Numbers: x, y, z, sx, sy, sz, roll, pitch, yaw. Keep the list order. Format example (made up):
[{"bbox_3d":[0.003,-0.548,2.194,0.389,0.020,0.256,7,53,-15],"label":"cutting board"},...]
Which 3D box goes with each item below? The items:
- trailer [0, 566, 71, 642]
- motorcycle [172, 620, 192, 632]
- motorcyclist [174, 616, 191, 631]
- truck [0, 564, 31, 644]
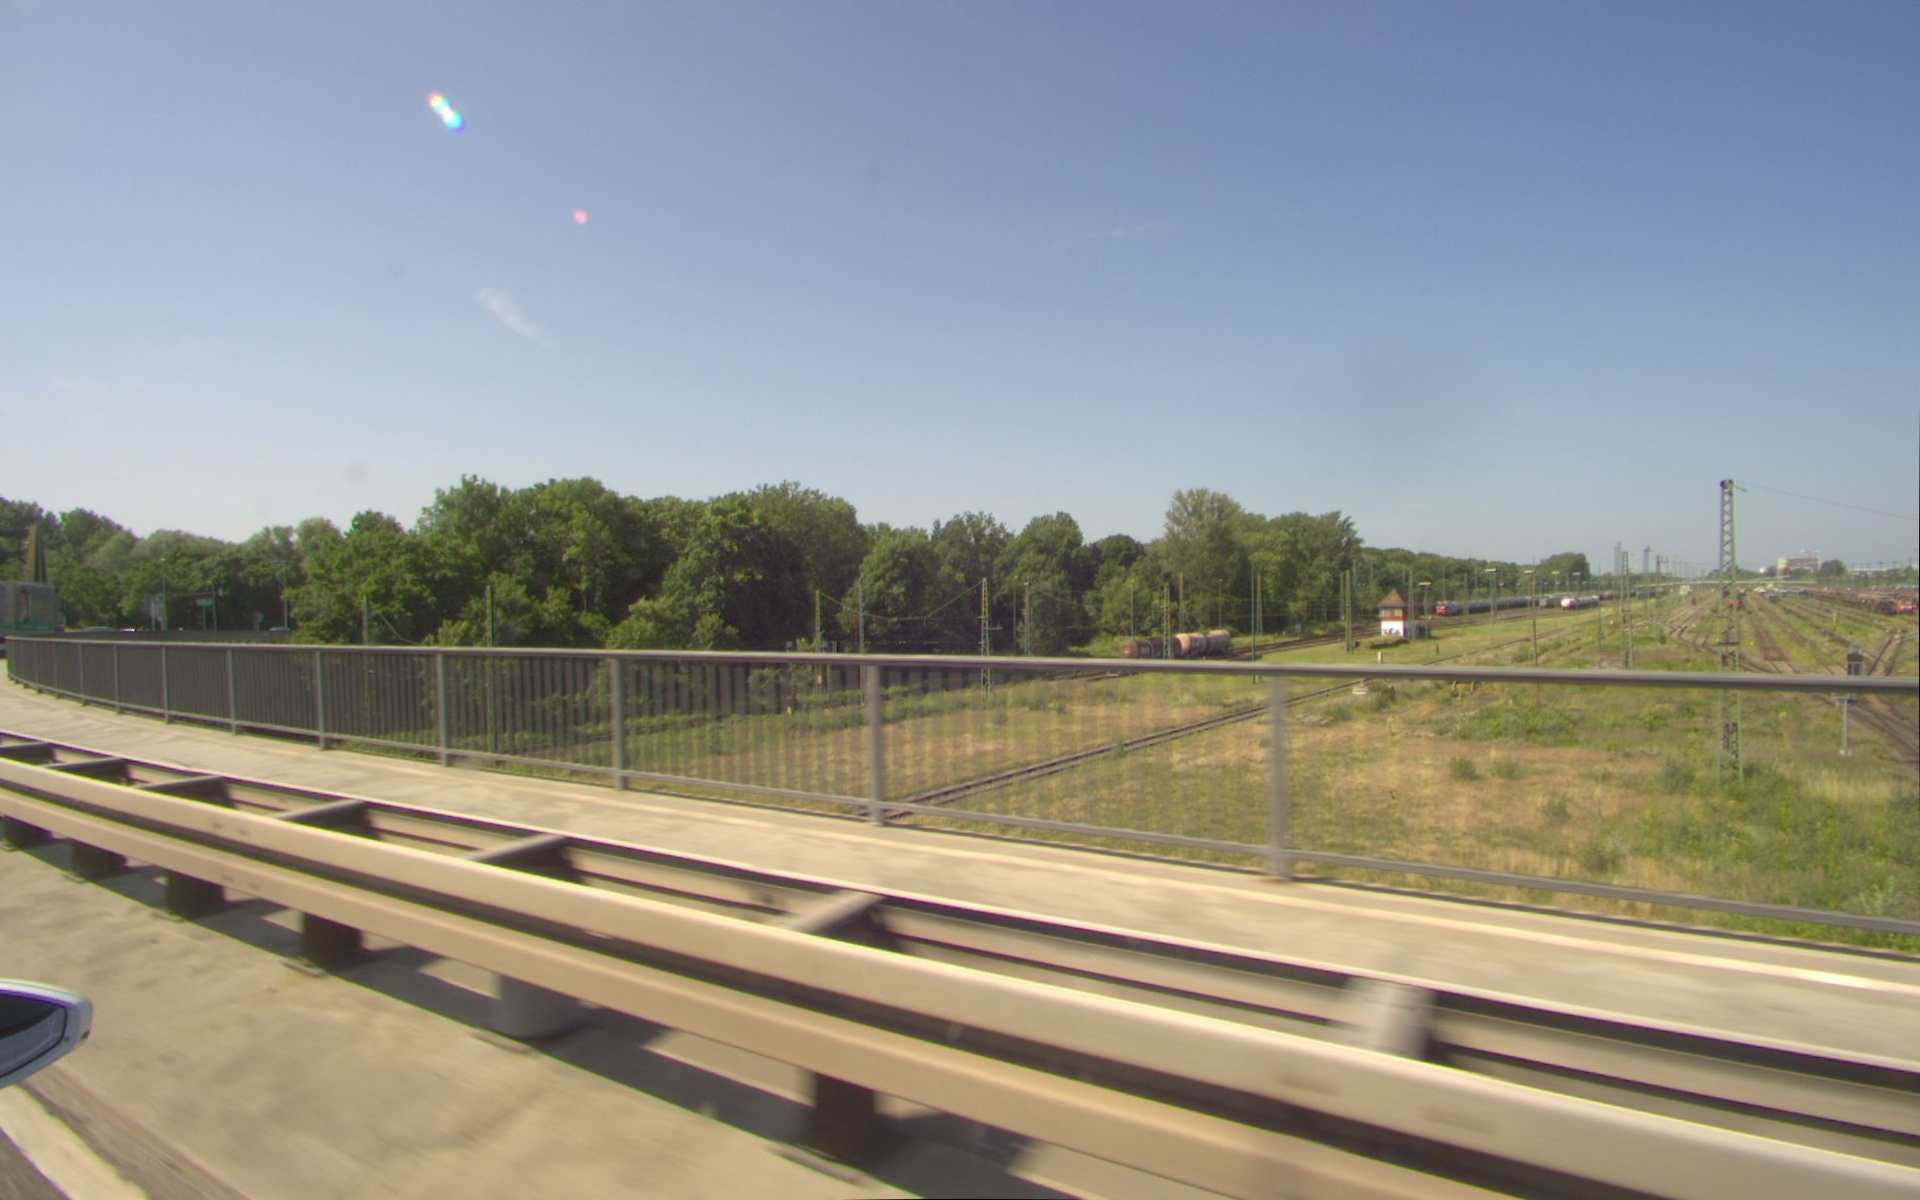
[{"bbox_3d":[-50.802,0.188,53.499,3.189,3.806,7.785,3,-2,-29],"label":"trailer"},{"bbox_3d":[-99.954,3.369,128.624,1.945,1.548,0.899,0,-2,8],"label":"motorcycle"},{"bbox_3d":[-99.899,2.984,128.632,1.436,1.894,0.892,0,-2,8],"label":"motorcyclist"},{"bbox_3d":[-47.145,0.117,47.082,3.226,3.806,8.325,3,-2,-31],"label":"truck"}]
